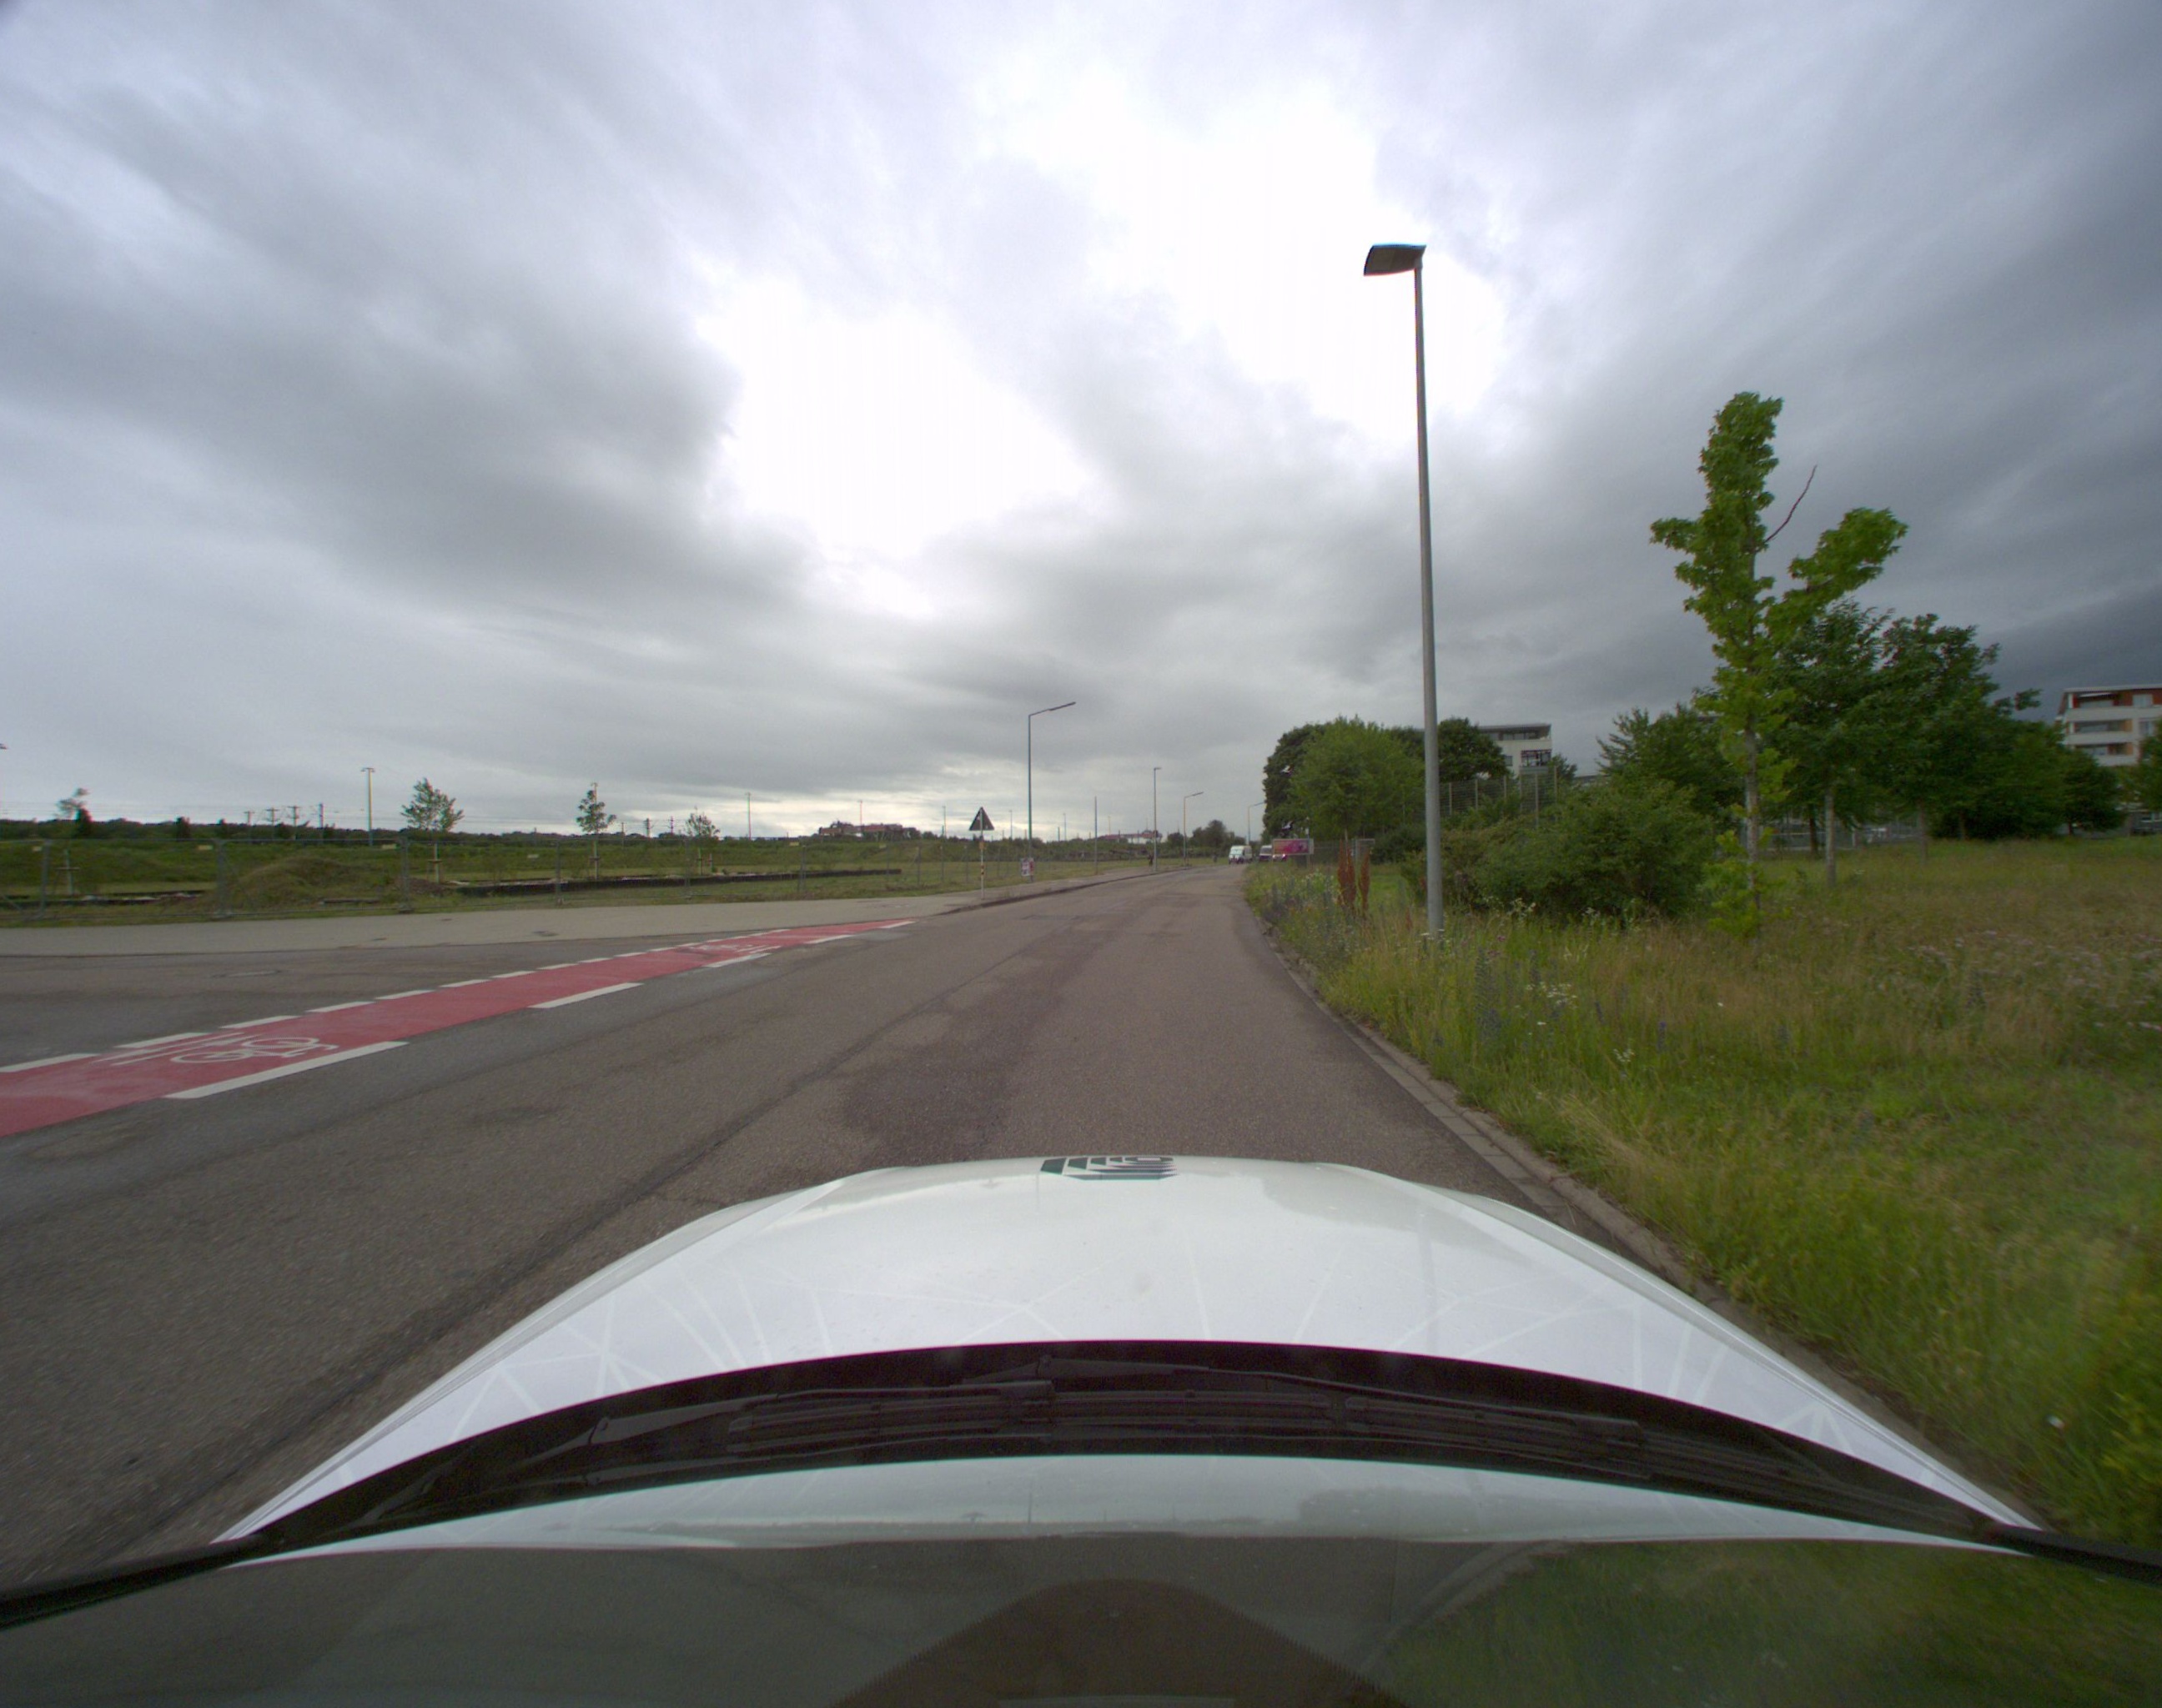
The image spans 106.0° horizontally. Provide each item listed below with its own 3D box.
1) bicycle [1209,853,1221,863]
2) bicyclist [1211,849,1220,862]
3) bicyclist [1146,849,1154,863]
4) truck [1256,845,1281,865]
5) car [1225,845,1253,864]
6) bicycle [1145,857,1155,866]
[{"bbox_3d":[18.716,0.552,113.571,0.811,1.204,2.573,-1,1,28],"label":"bicycle"},{"bbox_3d":[18.760,0.185,113.681,0.819,1.821,1.338,-1,0,29],"label":"bicyclist"},{"bbox_3d":[7.539,0.216,89.026,0.777,1.526,1.097,-1,0,12],"label":"bicyclist"},{"bbox_3d":[29.872,0.123,129.588,2.320,3.062,7.539,-4,-1,24],"label":"truck"},{"bbox_3d":[22.364,0.083,114.781,2.268,2.555,6.447,-1,0,25],"label":"car"},{"bbox_3d":[7.567,0.768,89.086,0.798,0.907,2.240,-1,1,12],"label":"bicycle"}]
